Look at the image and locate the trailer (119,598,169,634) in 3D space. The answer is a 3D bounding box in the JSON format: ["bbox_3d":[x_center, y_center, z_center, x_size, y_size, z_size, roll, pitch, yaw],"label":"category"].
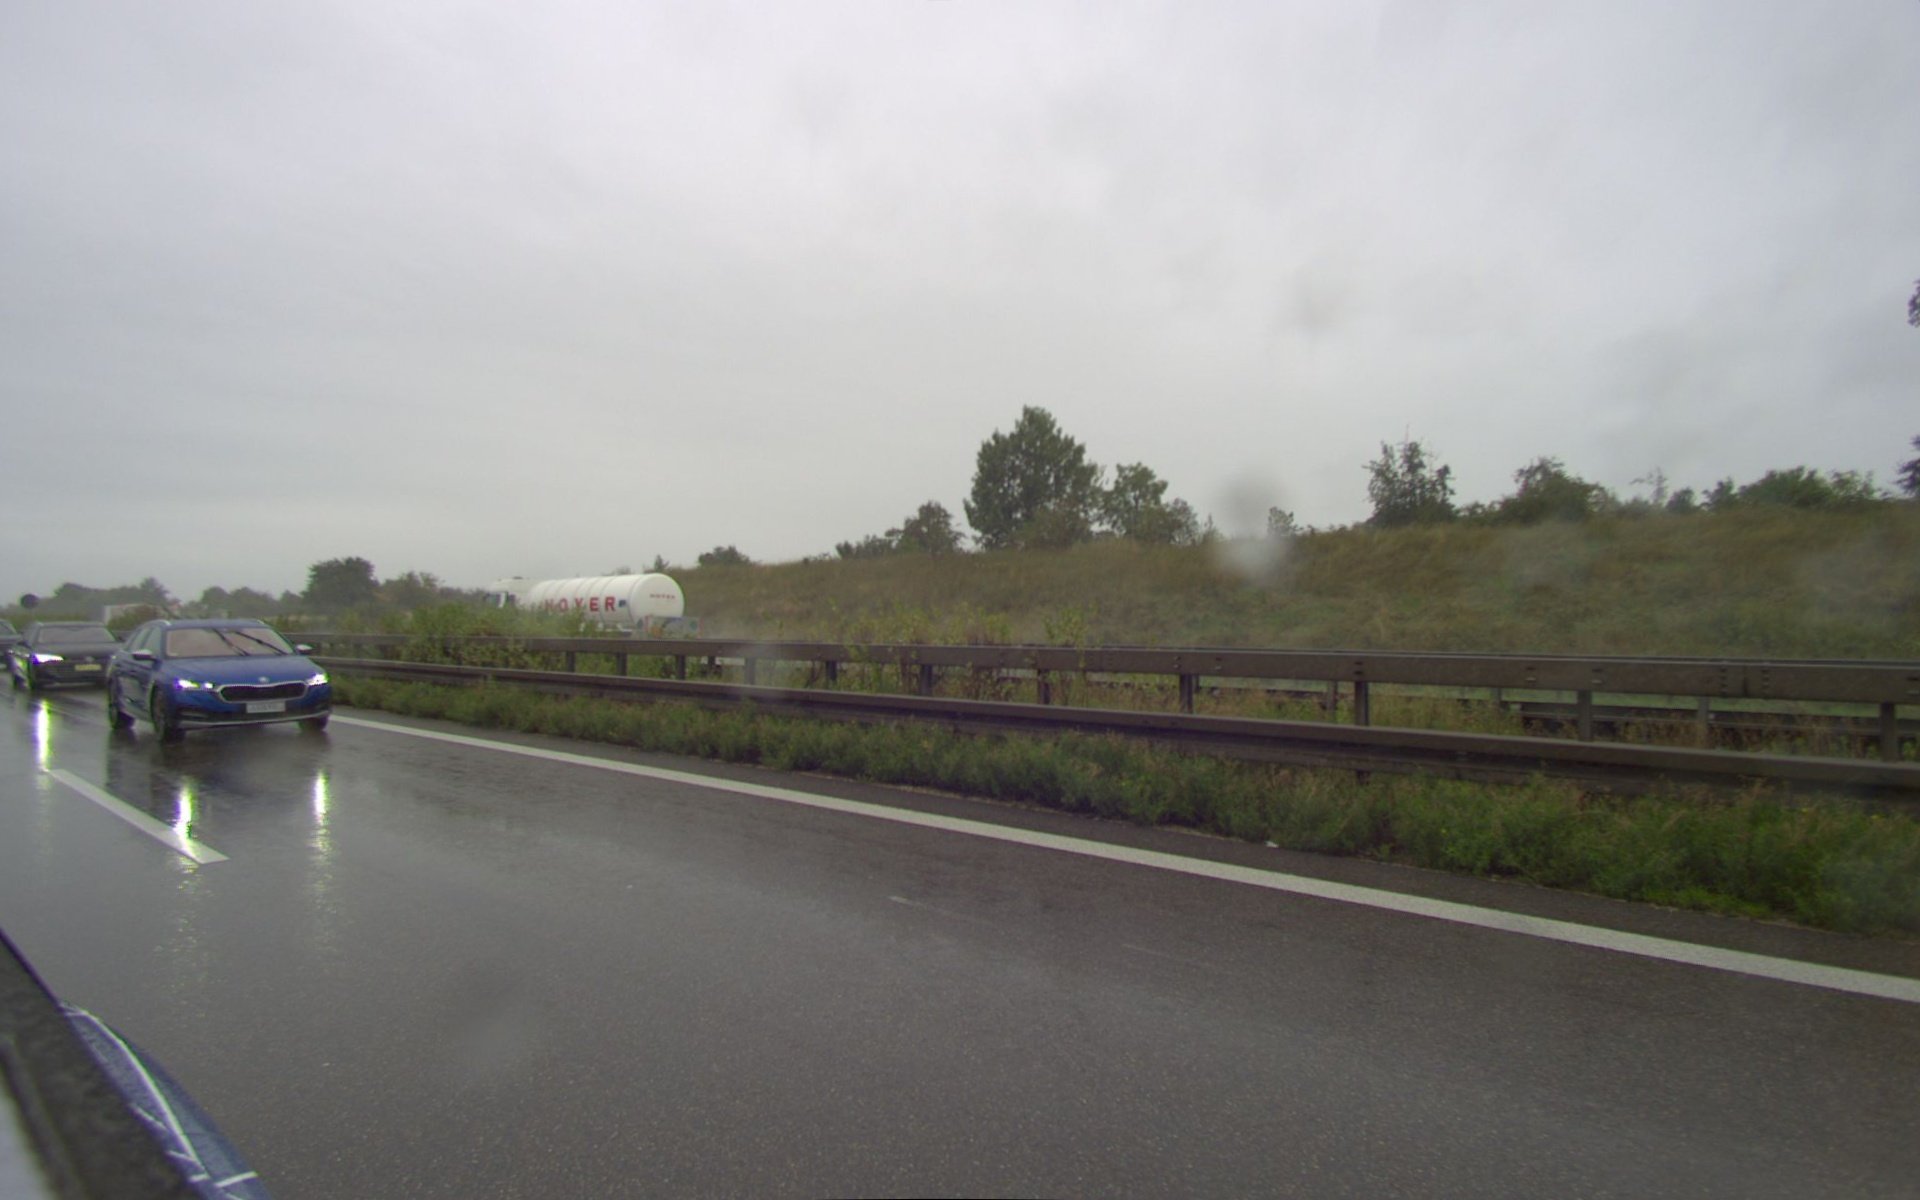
[{"bbox_3d":[-73.093,1.498,90.568,8.866,3.105,1.973,-2,-1,41],"label":"trailer"}]

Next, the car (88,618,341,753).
[{"bbox_3d":[-10.019,1.023,13.470,4.509,1.487,1.768,-2,-1,41],"label":"car"}]

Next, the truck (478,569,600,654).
[{"bbox_3d":[-17.616,0.499,42.248,5.194,3.305,2.515,0,-2,40],"label":"truck"}]

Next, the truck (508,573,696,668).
[{"bbox_3d":[-14.064,0.729,39.199,9.344,3.323,2.528,0,-2,41],"label":"truck"}]

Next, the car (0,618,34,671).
[{"bbox_3d":[-31.442,1.429,32.598,4.266,1.644,1.865,-2,-1,40],"label":"car"}]

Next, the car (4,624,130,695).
[{"bbox_3d":[-20.511,1.306,23.188,4.368,1.447,1.592,-2,-1,41],"label":"car"}]

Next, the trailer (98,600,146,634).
[{"bbox_3d":[-80.028,1.679,96.561,9.549,3.105,1.973,-2,-1,41],"label":"trailer"}]
